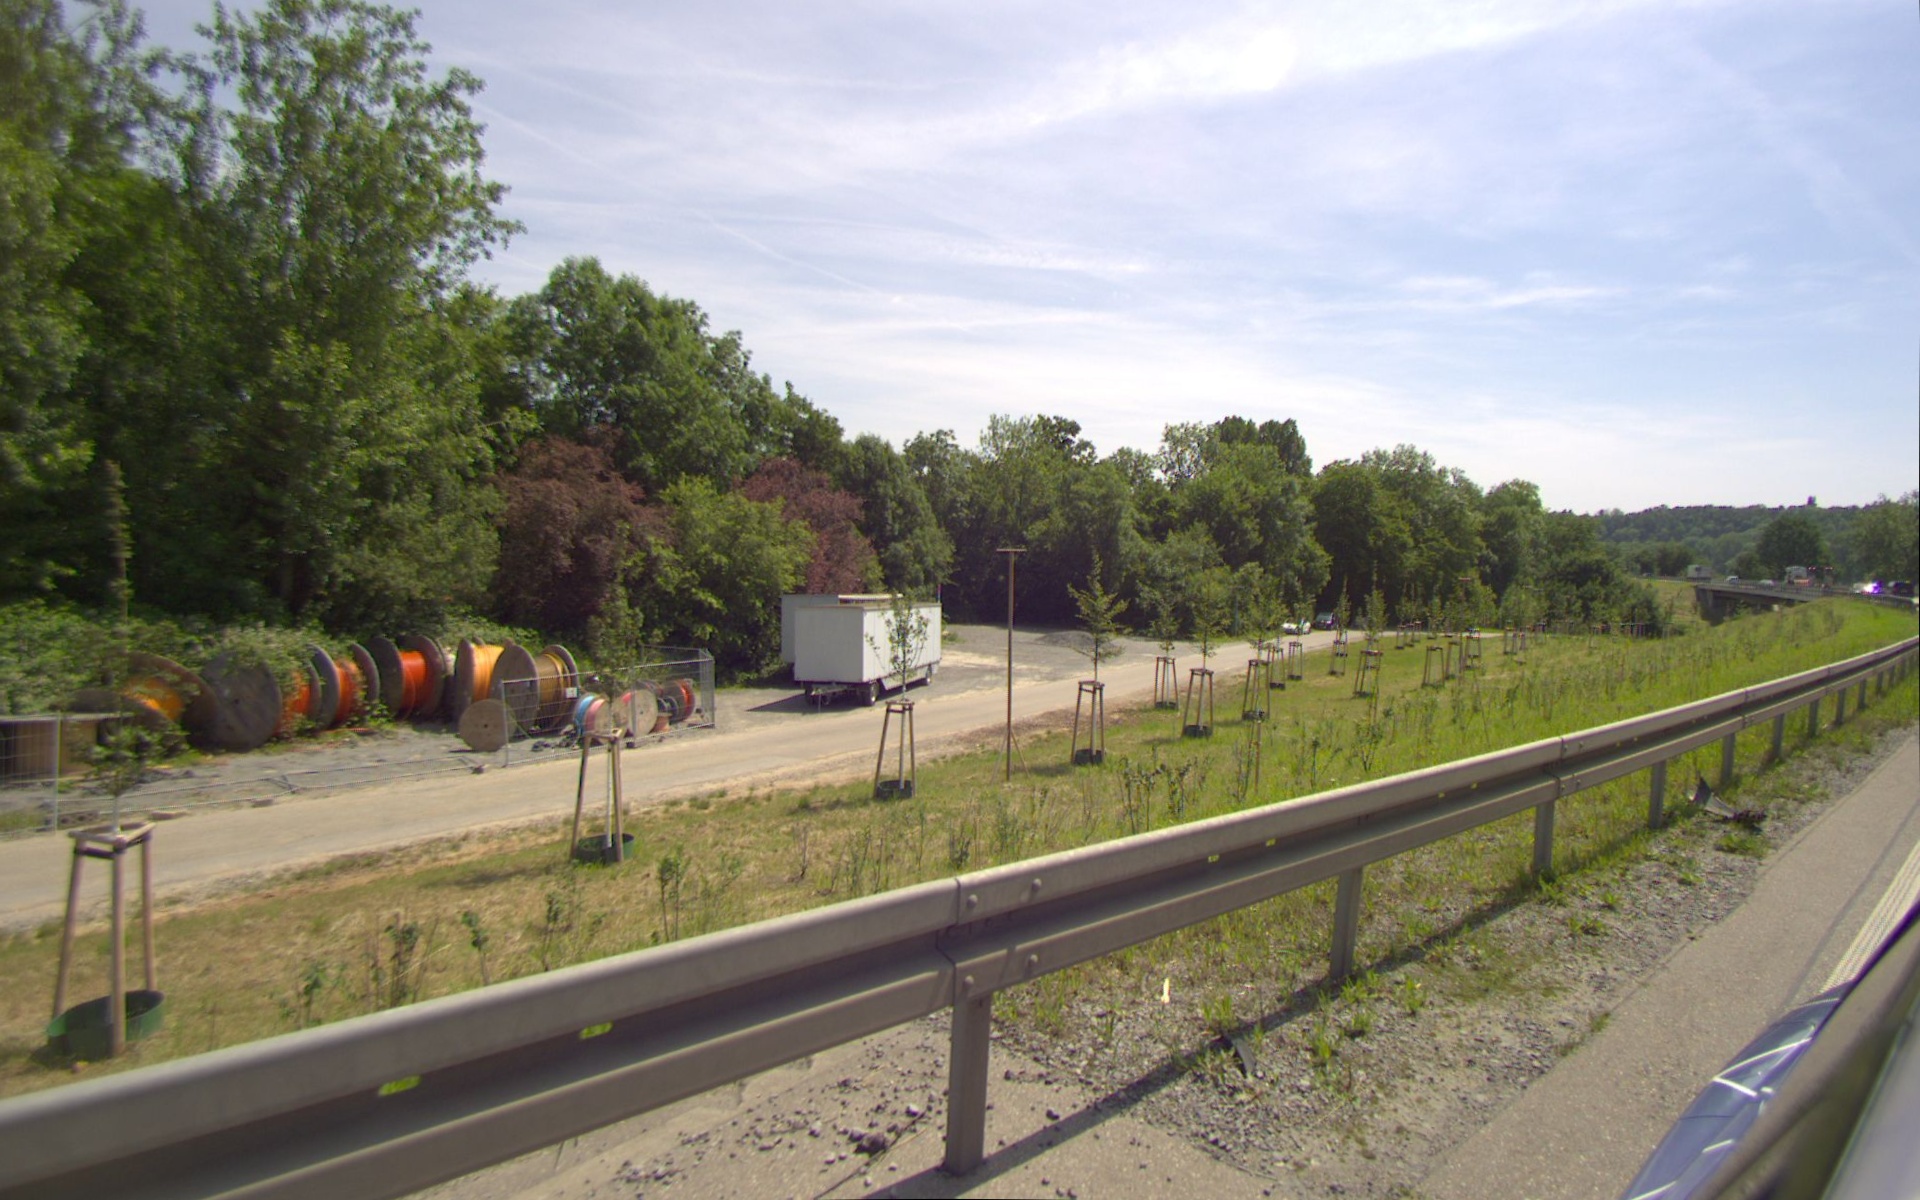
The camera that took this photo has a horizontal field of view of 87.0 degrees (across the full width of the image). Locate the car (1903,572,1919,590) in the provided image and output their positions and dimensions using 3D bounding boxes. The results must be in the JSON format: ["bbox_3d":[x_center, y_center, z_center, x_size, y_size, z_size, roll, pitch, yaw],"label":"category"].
[{"bbox_3d":[104.980,-2.111,110.773,1.916,1.883,5.110,1,2,36],"label":"car"}]

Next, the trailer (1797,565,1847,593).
[{"bbox_3d":[131.402,-3.254,154.441,3.103,4.028,15.192,2,2,31],"label":"trailer"}]

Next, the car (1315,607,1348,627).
[{"bbox_3d":[35.936,1.640,97.806,1.853,1.702,4.146,6,4,35],"label":"car"}]

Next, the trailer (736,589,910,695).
[{"bbox_3d":[-5.202,1.417,41.791,2.689,3.651,11.837,0,1,16],"label":"trailer"}]

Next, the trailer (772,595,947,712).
[{"bbox_3d":[-3.238,1.629,37.407,2.687,3.369,11.846,1,1,14],"label":"trailer"}]

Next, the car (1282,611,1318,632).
[{"bbox_3d":[29.777,1.871,88.501,1.851,1.500,4.554,6,4,33],"label":"car"}]

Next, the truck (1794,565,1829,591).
[{"bbox_3d":[134.787,-3.456,160.189,3.104,4.006,6.551,2,2,31],"label":"truck"}]

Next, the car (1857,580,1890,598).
[{"bbox_3d":[97.764,-1.180,108.325,1.968,1.753,3.953,1,3,34],"label":"car"}]

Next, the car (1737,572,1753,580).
[{"bbox_3d":[153.734,-4.639,198.306,1.747,1.530,3.963,1,3,28],"label":"car"}]
